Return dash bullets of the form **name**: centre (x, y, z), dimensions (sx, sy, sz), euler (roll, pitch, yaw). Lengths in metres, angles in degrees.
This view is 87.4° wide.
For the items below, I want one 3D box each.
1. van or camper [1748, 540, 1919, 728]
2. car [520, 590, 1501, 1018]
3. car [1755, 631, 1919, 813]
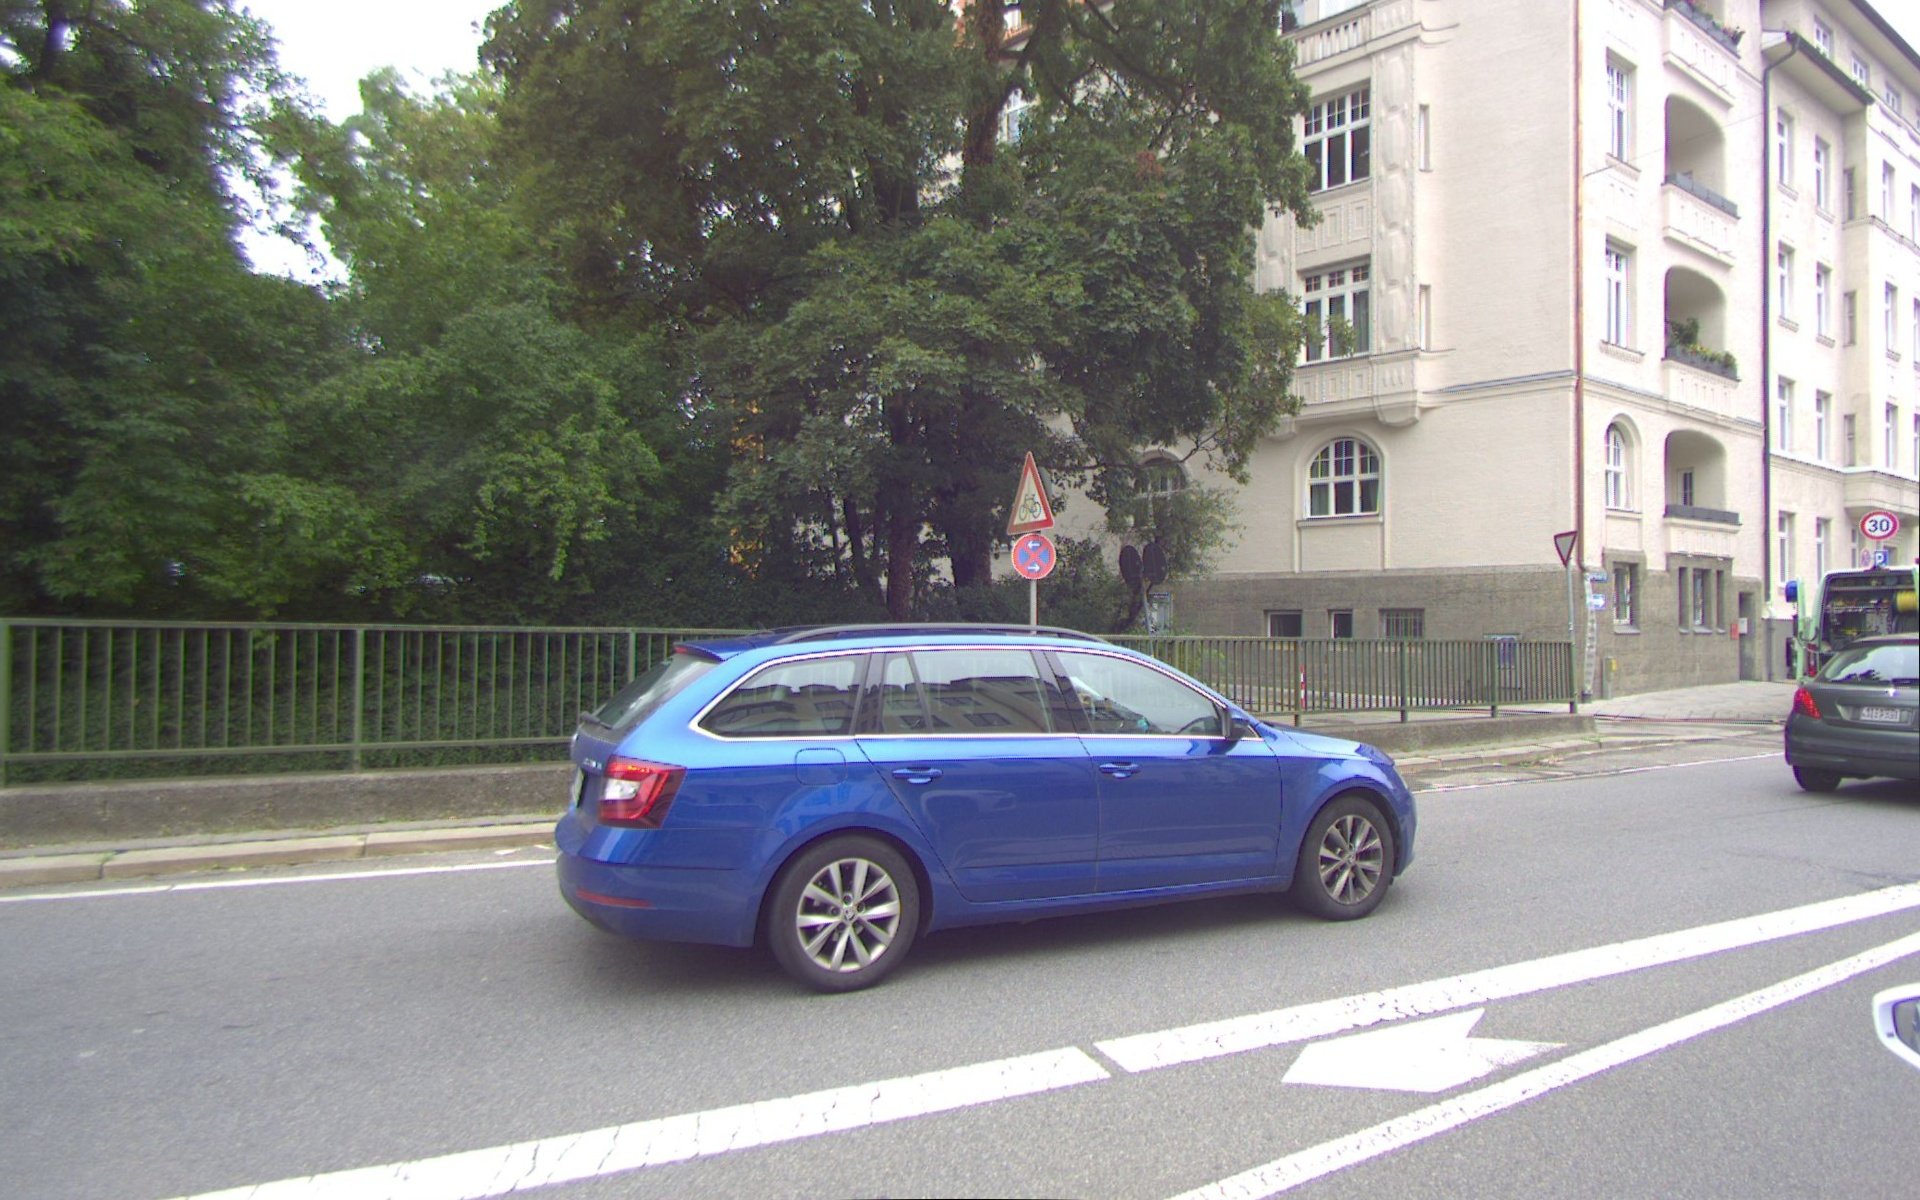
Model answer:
- **van or camper**: centre (16.837, 0.539, 17.837), dimensions (6.117, 2.878, 2.586), euler (0, -1, -32)
- **car**: centre (0.293, 0.758, 5.274), dimensions (4.665, 1.473, 1.984), euler (1, -2, -22)
- **car**: centre (9.517, 1.033, 9.328), dimensions (4.019, 1.480, 1.754), euler (1, -2, -25)
